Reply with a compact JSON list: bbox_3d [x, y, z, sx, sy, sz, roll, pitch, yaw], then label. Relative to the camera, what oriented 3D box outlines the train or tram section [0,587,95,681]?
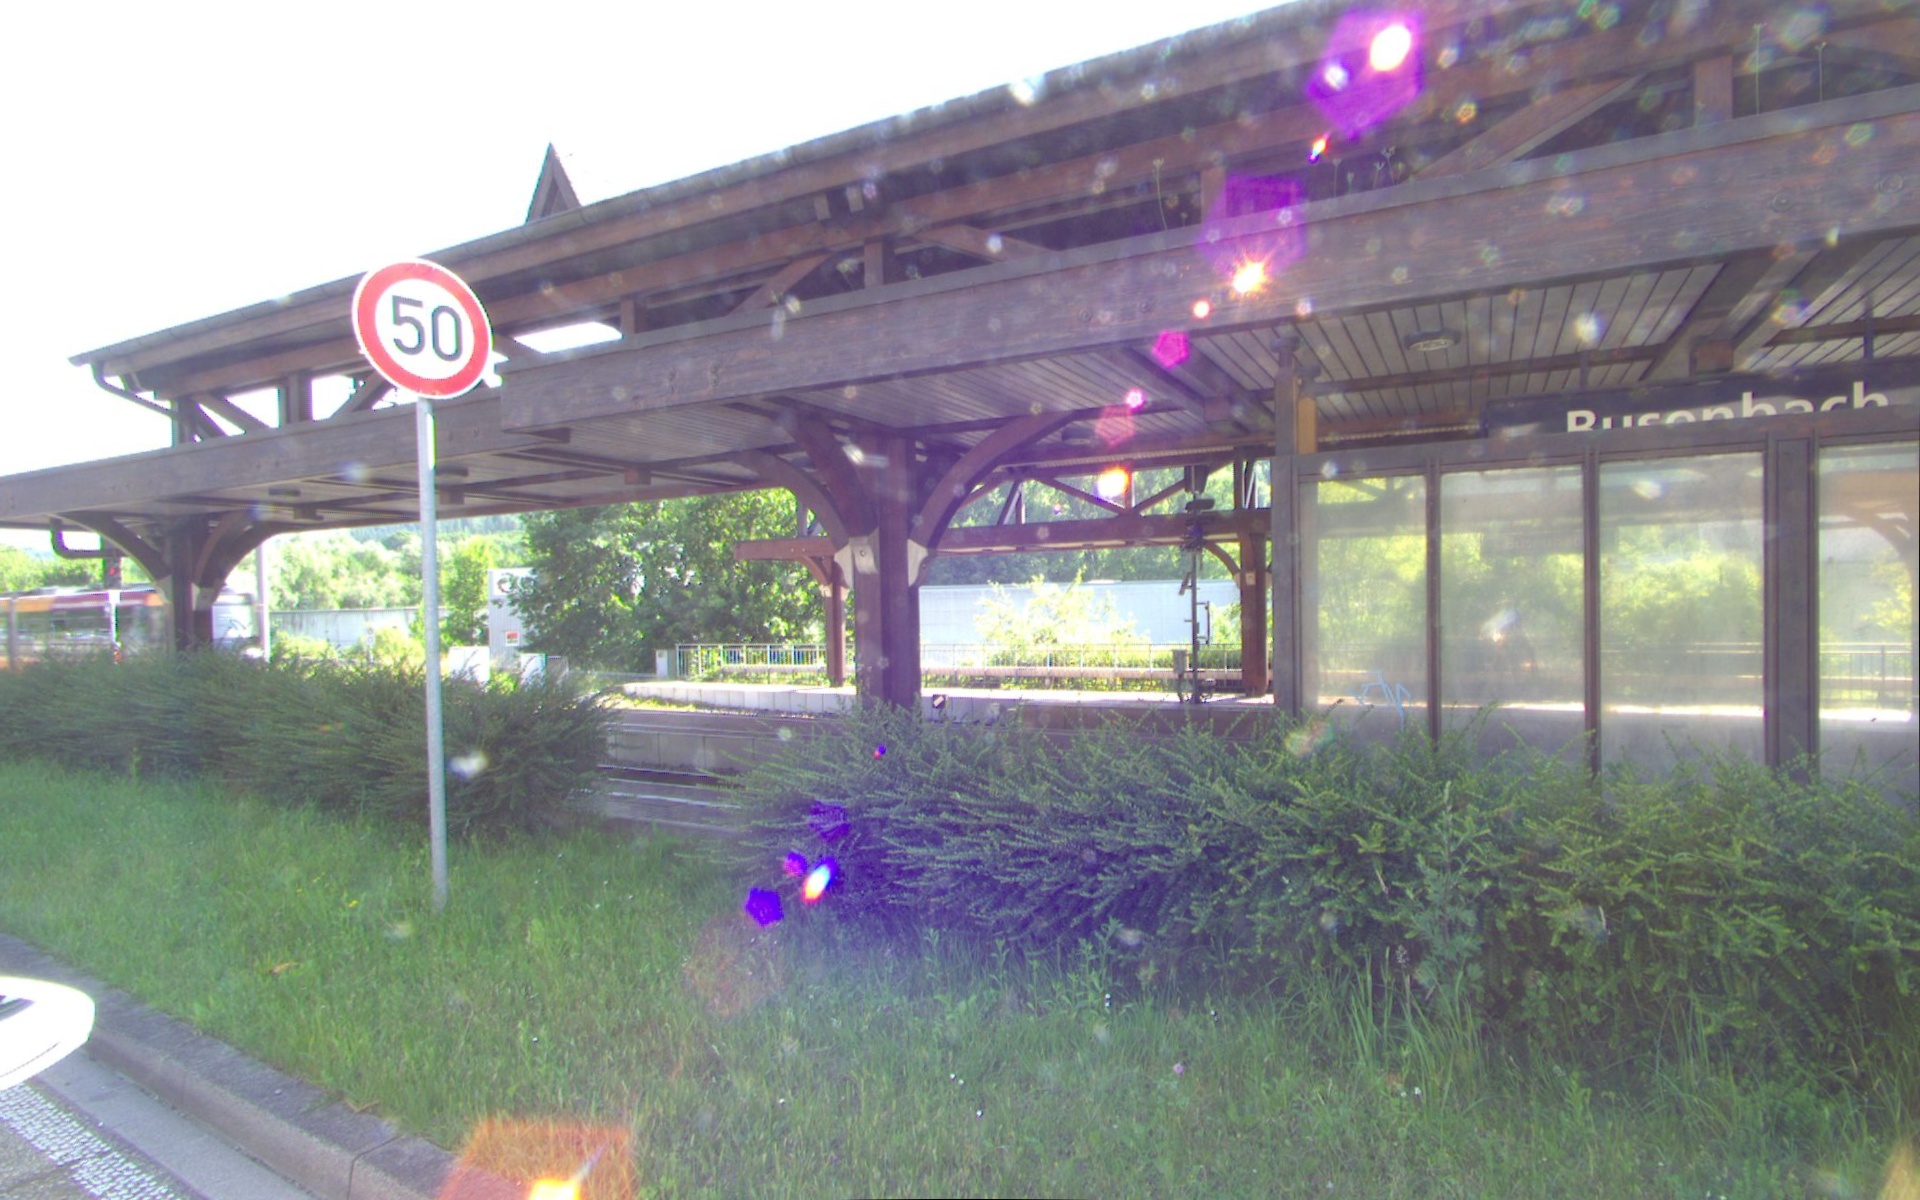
[{"bbox_3d":[-39.184,1.398,40.400,11.870,3.406,2.784,-1,-2,31],"label":"train or tram section"}]

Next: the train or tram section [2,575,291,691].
[{"bbox_3d":[-28.033,1.070,34.074,14.140,3.408,2.852,-1,-1,30],"label":"train or tram section"}]
